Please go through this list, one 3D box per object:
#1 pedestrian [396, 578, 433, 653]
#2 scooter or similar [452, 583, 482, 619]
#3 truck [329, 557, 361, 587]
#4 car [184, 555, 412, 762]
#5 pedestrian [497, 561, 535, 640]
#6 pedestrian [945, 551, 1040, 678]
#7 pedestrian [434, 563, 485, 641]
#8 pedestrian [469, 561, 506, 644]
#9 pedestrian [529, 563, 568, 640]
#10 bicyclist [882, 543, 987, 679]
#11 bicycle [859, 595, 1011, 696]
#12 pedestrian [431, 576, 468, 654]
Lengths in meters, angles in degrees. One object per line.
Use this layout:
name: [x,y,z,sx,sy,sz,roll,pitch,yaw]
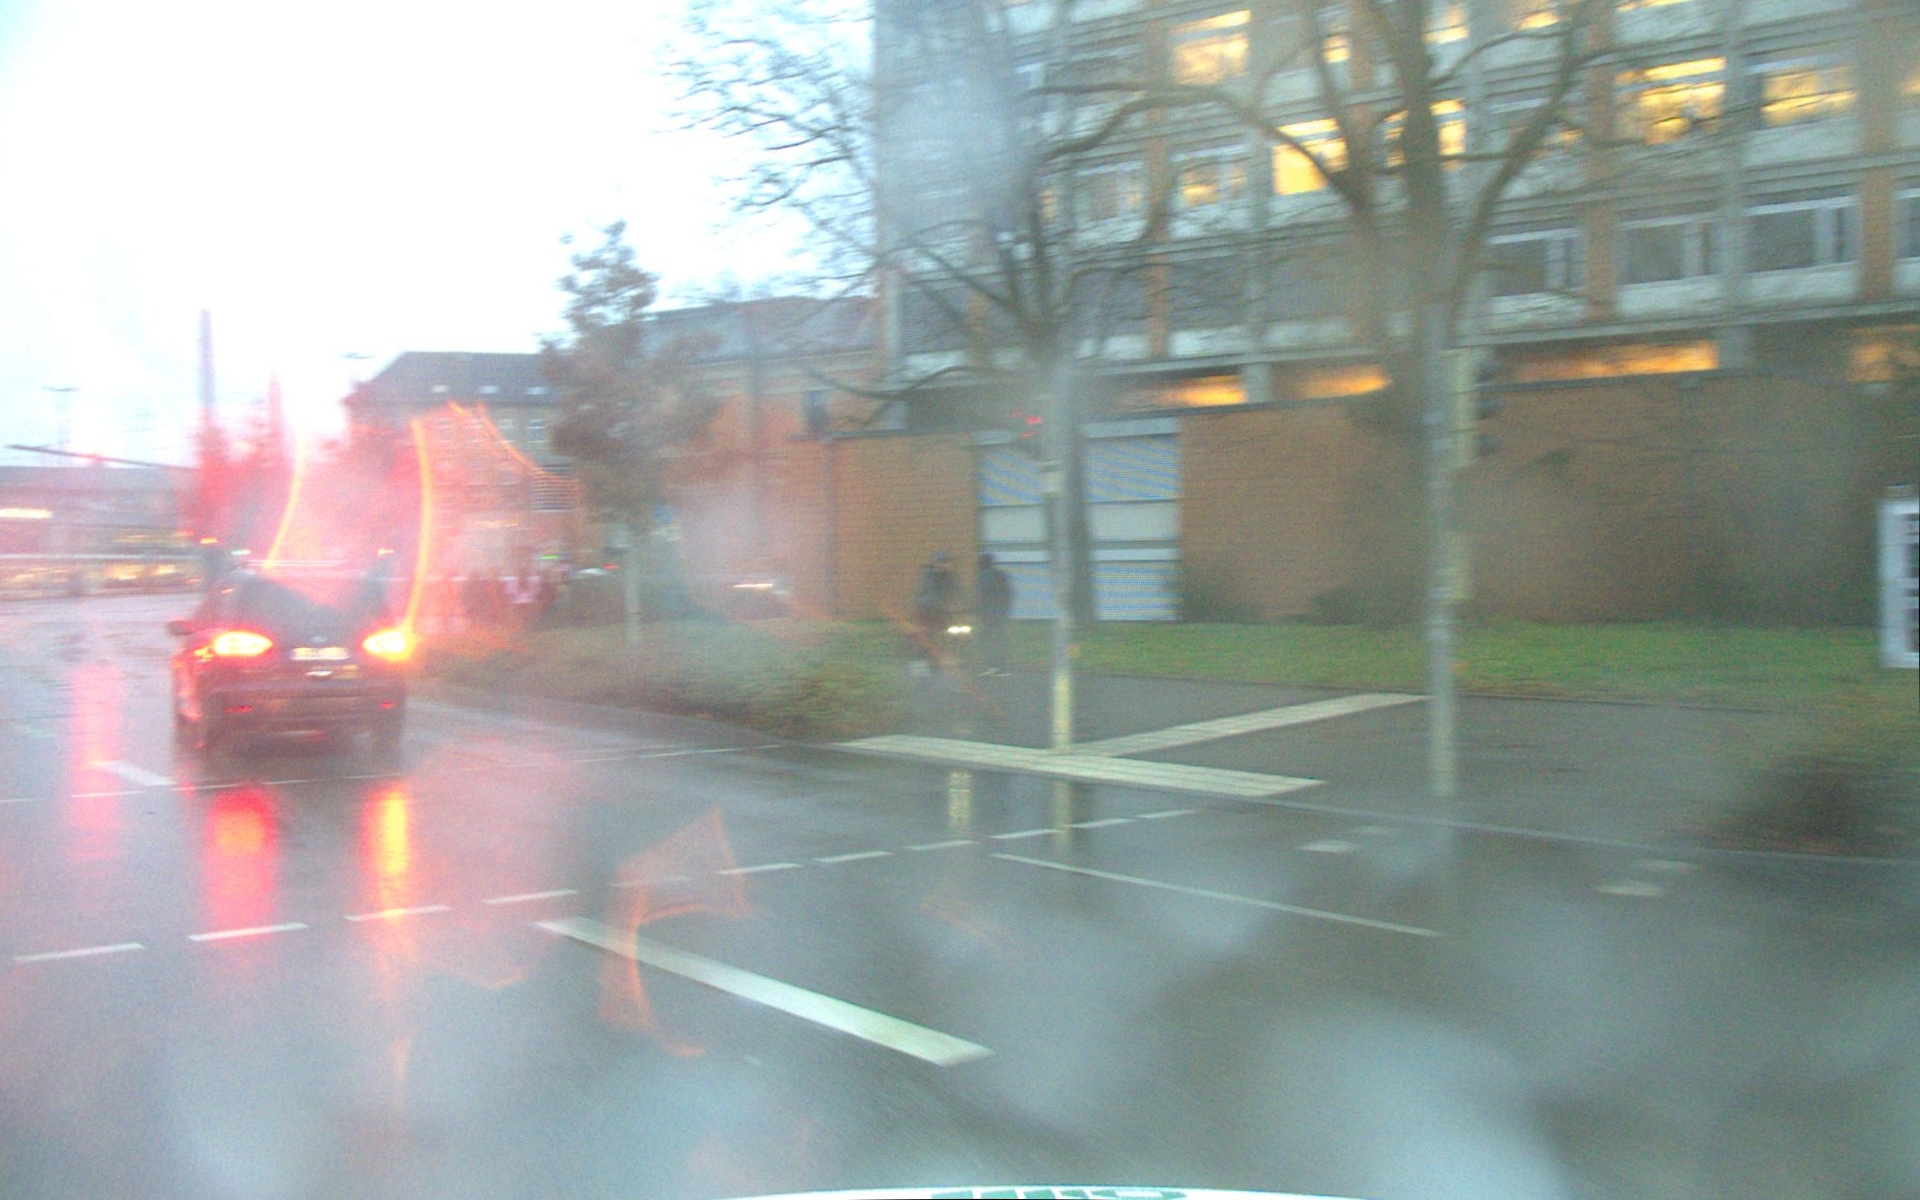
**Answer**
pedestrian: [-14.600,0.418,44.278,0.792,1.963,0.759,1,2,-6]
scooter or similar: [-17.328,0.022,58.190,0.502,1.235,1.384,-1,1,5]
truck: [-56.960,-2.580,153.257,1.959,2.738,5.099,-1,1,-12]
car: [-6.917,0.481,17.028,1.757,1.831,4.384,0,1,-28]
pedestrian: [-9.926,0.003,37.004,0.654,1.716,0.611,-2,3,-5]
pedestrian: [0.451,0.190,23.276,0.801,1.717,1.056,-3,2,-36]
pedestrian: [-11.896,0.043,39.322,0.733,1.822,0.852,-1,1,32]
pedestrian: [-10.535,0.044,36.893,0.572,1.812,0.768,-2,1,-5]
pedestrian: [-9.303,0.021,37.402,0.704,1.717,0.759,-1,1,-6]
bicyclist: [-0.332,0.126,21.266,0.798,1.646,1.072,-5,4,-37]
bicycle: [-0.353,0.553,21.354,0.798,1.161,2.185,-5,4,-36]
pedestrian: [-13.754,0.387,44.567,0.792,2.048,0.759,1,2,-6]
